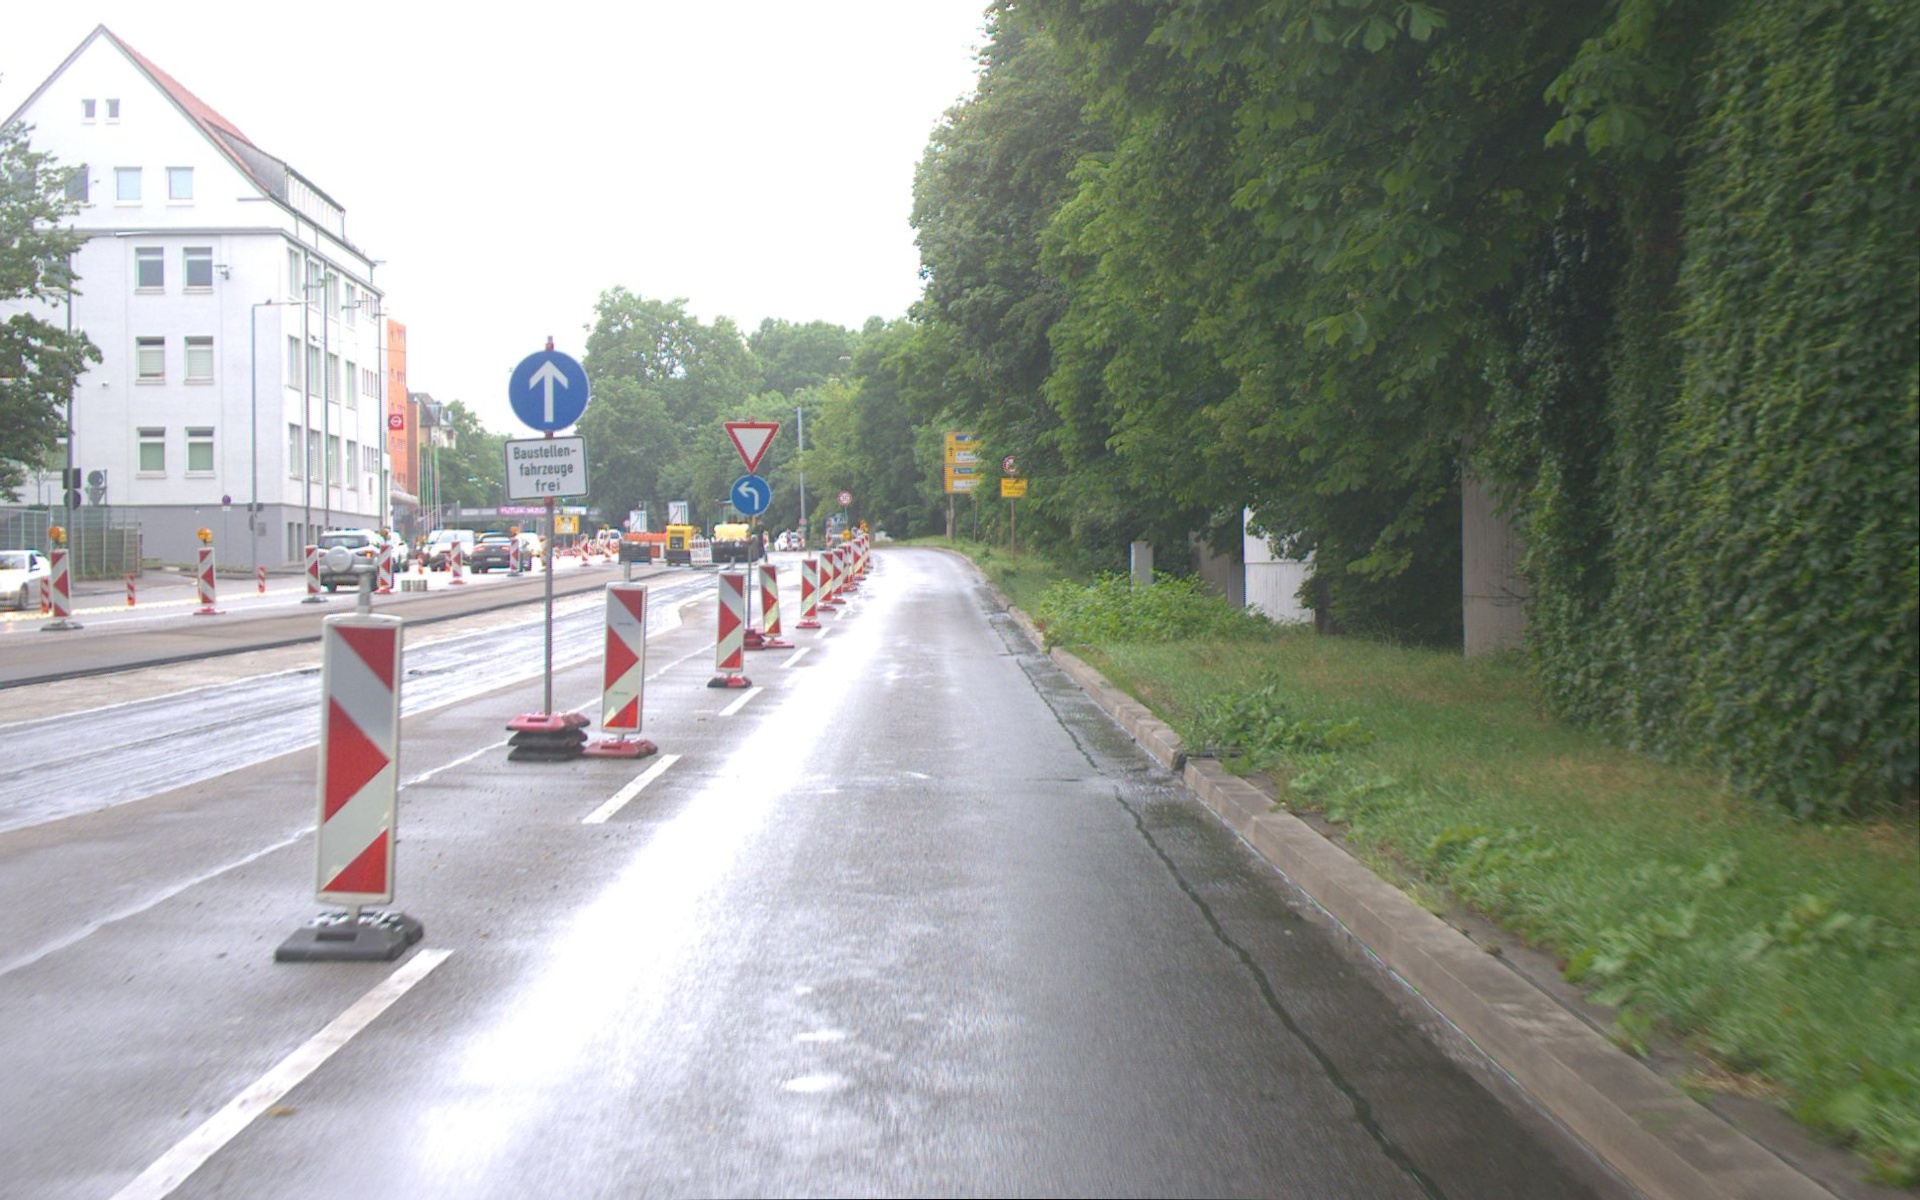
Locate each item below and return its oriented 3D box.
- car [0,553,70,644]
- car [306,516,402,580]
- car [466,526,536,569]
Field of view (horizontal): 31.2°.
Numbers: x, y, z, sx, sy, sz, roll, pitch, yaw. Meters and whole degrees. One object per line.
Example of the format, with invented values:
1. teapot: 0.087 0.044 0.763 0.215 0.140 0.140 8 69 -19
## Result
1. car: -21.804 -0.072 78.466 1.993 2.007 4.000 1 1 -1
2. car: -15.920 -1.369 90.516 1.854 1.642 4.000 1 1 -1
3. car: -16.530 -1.888 123.964 1.993 1.514 4.000 1 1 -1
